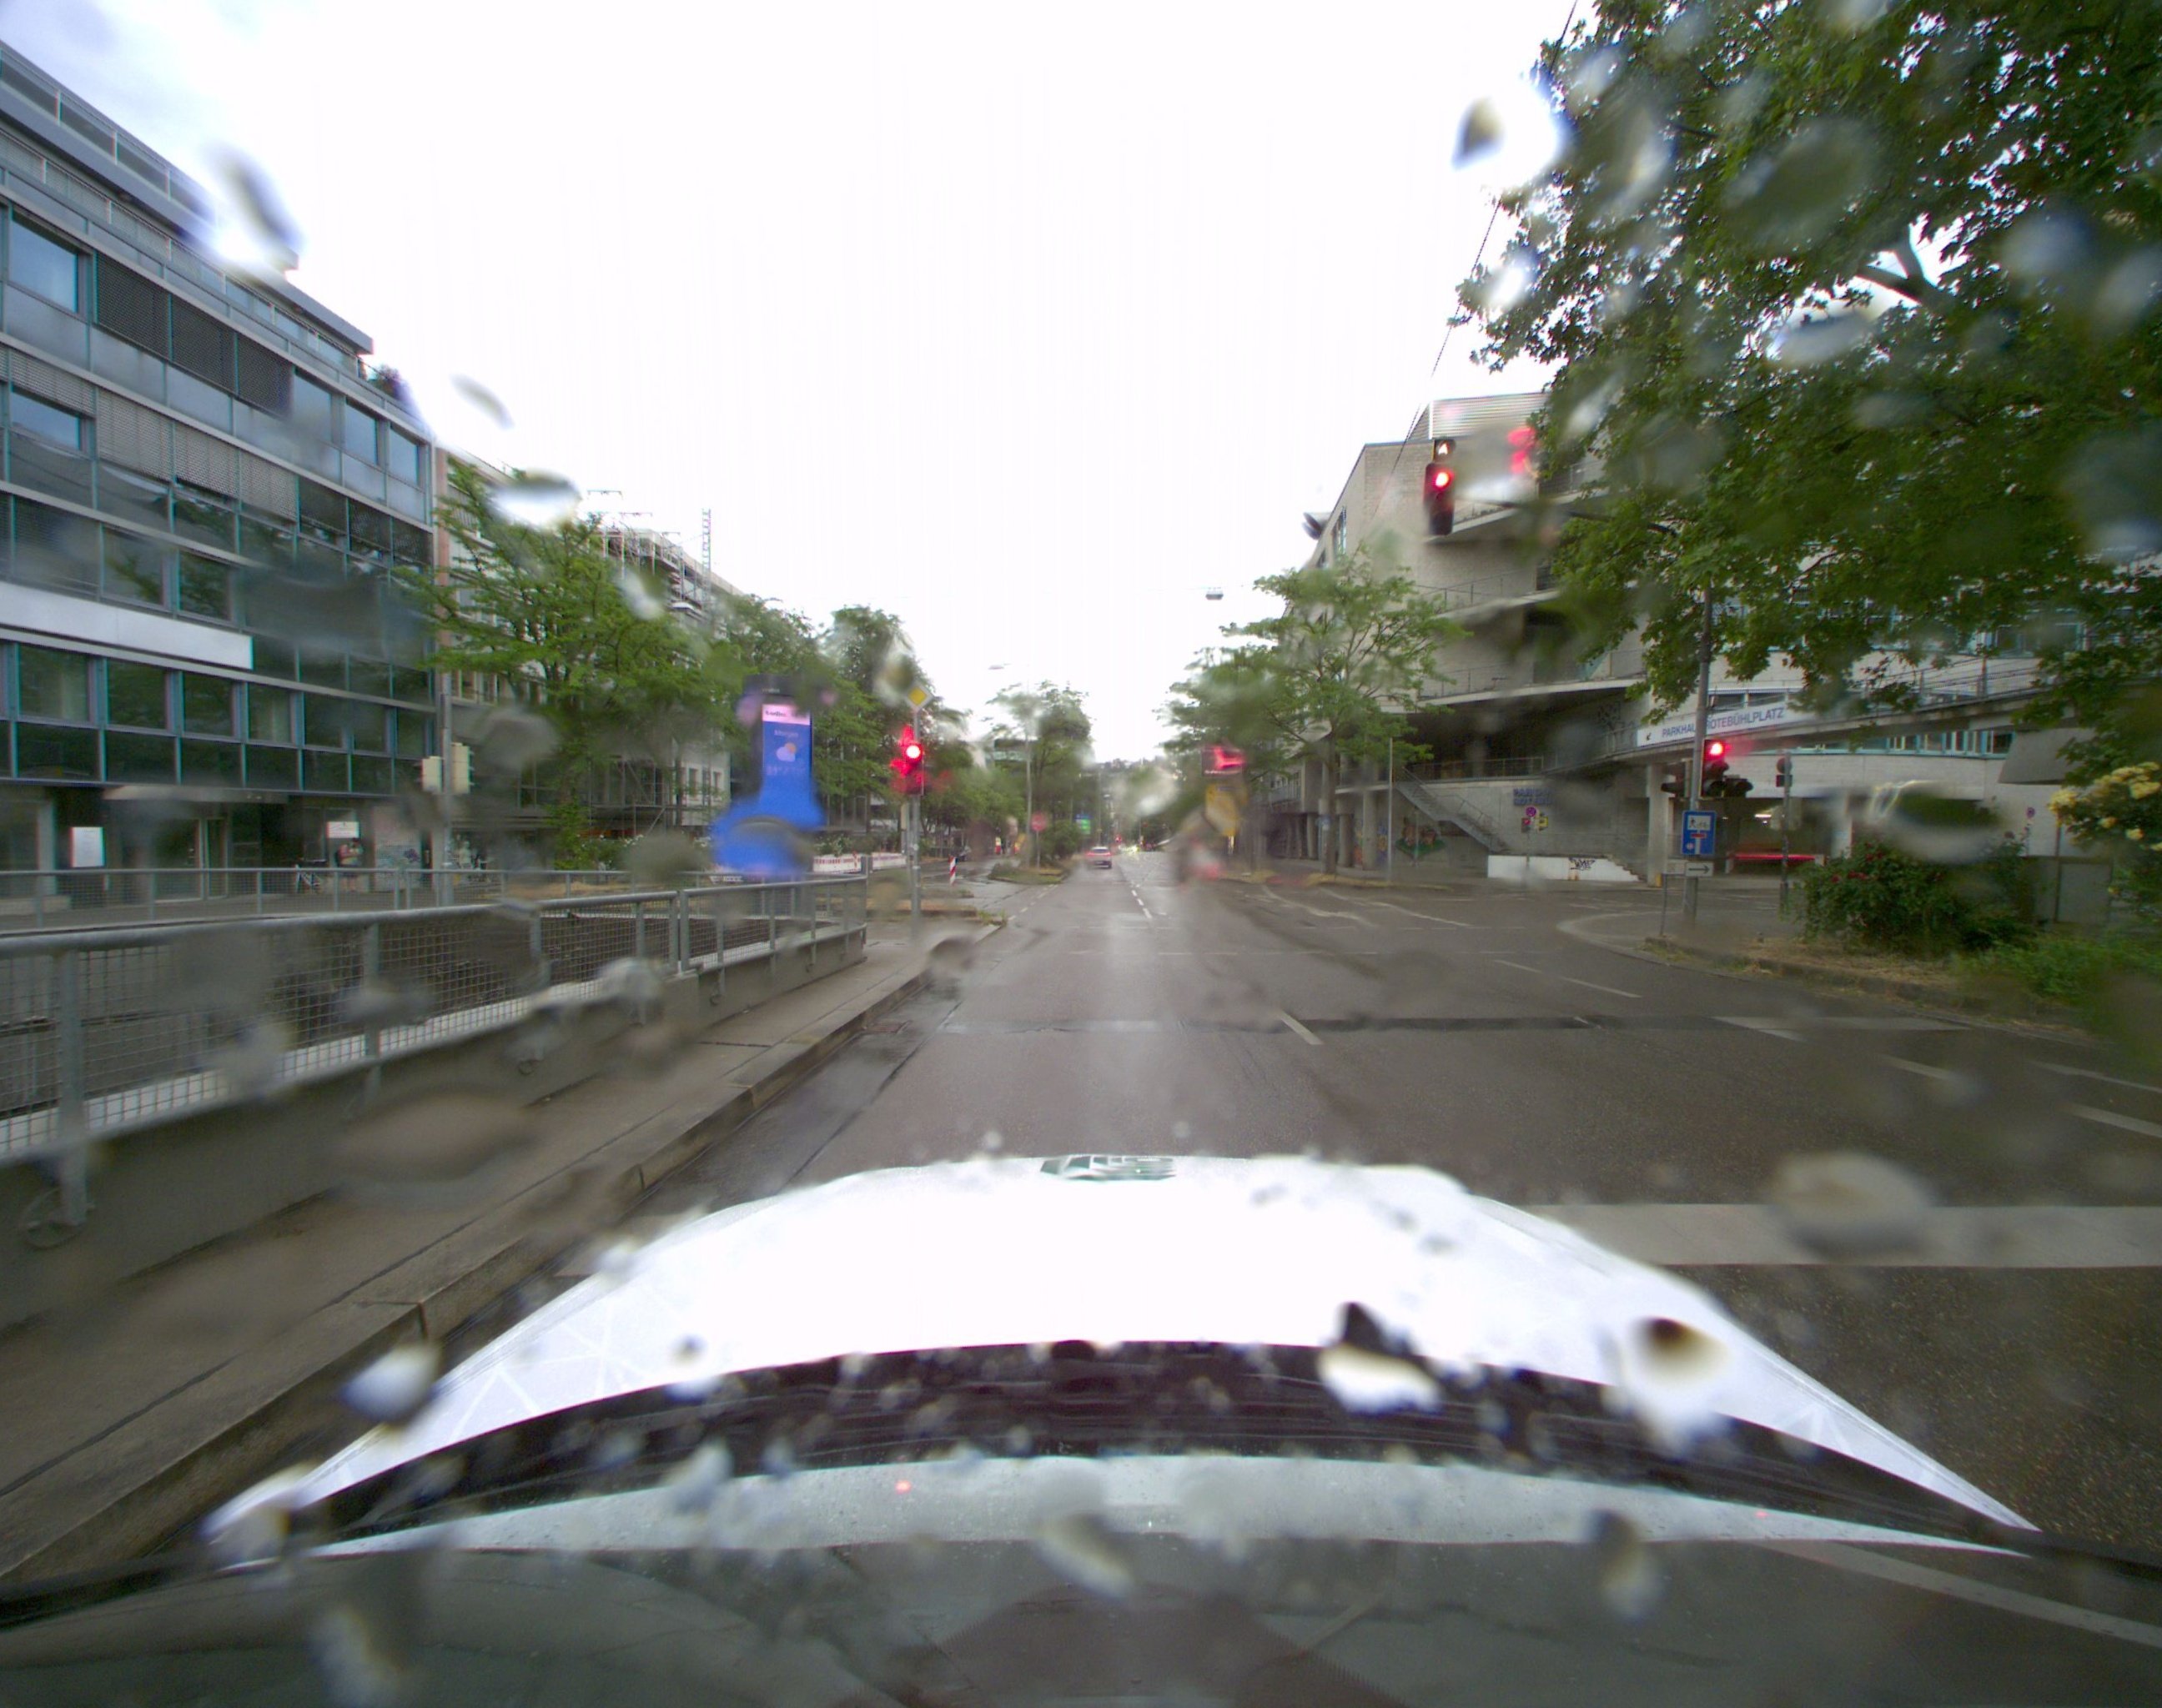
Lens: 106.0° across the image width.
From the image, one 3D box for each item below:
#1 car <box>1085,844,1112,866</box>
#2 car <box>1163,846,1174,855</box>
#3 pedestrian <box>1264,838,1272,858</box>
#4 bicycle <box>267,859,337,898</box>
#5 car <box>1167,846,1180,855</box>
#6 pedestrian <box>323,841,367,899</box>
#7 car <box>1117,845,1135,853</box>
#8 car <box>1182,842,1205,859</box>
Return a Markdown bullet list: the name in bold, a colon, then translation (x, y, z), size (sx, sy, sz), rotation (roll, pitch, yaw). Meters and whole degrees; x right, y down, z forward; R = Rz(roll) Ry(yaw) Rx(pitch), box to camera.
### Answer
- **car**: translation (1.283, 0.065, 62.265), size (1.823, 1.640, 4.298), rotation (1, 0, -1)
- **car**: translation (17.872, -0.784, 166.636), size (1.986, 1.736, 4.001), rotation (0, -1, 2)
- **pedestrian**: translation (18.189, -0.596, 79.157), size (0.770, 1.920, 0.705), rotation (-1, -1, 11)
- **bicycle**: translation (-22.956, 0.712, 24.034), size (0.444, 1.085, 1.567), rotation (0, 0, 6)
- **car**: translation (17.643, -0.656, 155.551), size (1.986, 1.723, 4.001), rotation (0, -1, 1)
- **pedestrian**: translation (-22.810, 0.484, 25.235), size (0.694, 1.741, 0.694), rotation (1, 0, -4)
- **car**: translation (10.667, -1.241, 192.401), size (4.018, 1.758, 1.978), rotation (1, 0, -38)
- **car**: translation (11.539, -0.356, 83.338), size (2.324, 1.691, 4.010), rotation (0, 0, 9)
